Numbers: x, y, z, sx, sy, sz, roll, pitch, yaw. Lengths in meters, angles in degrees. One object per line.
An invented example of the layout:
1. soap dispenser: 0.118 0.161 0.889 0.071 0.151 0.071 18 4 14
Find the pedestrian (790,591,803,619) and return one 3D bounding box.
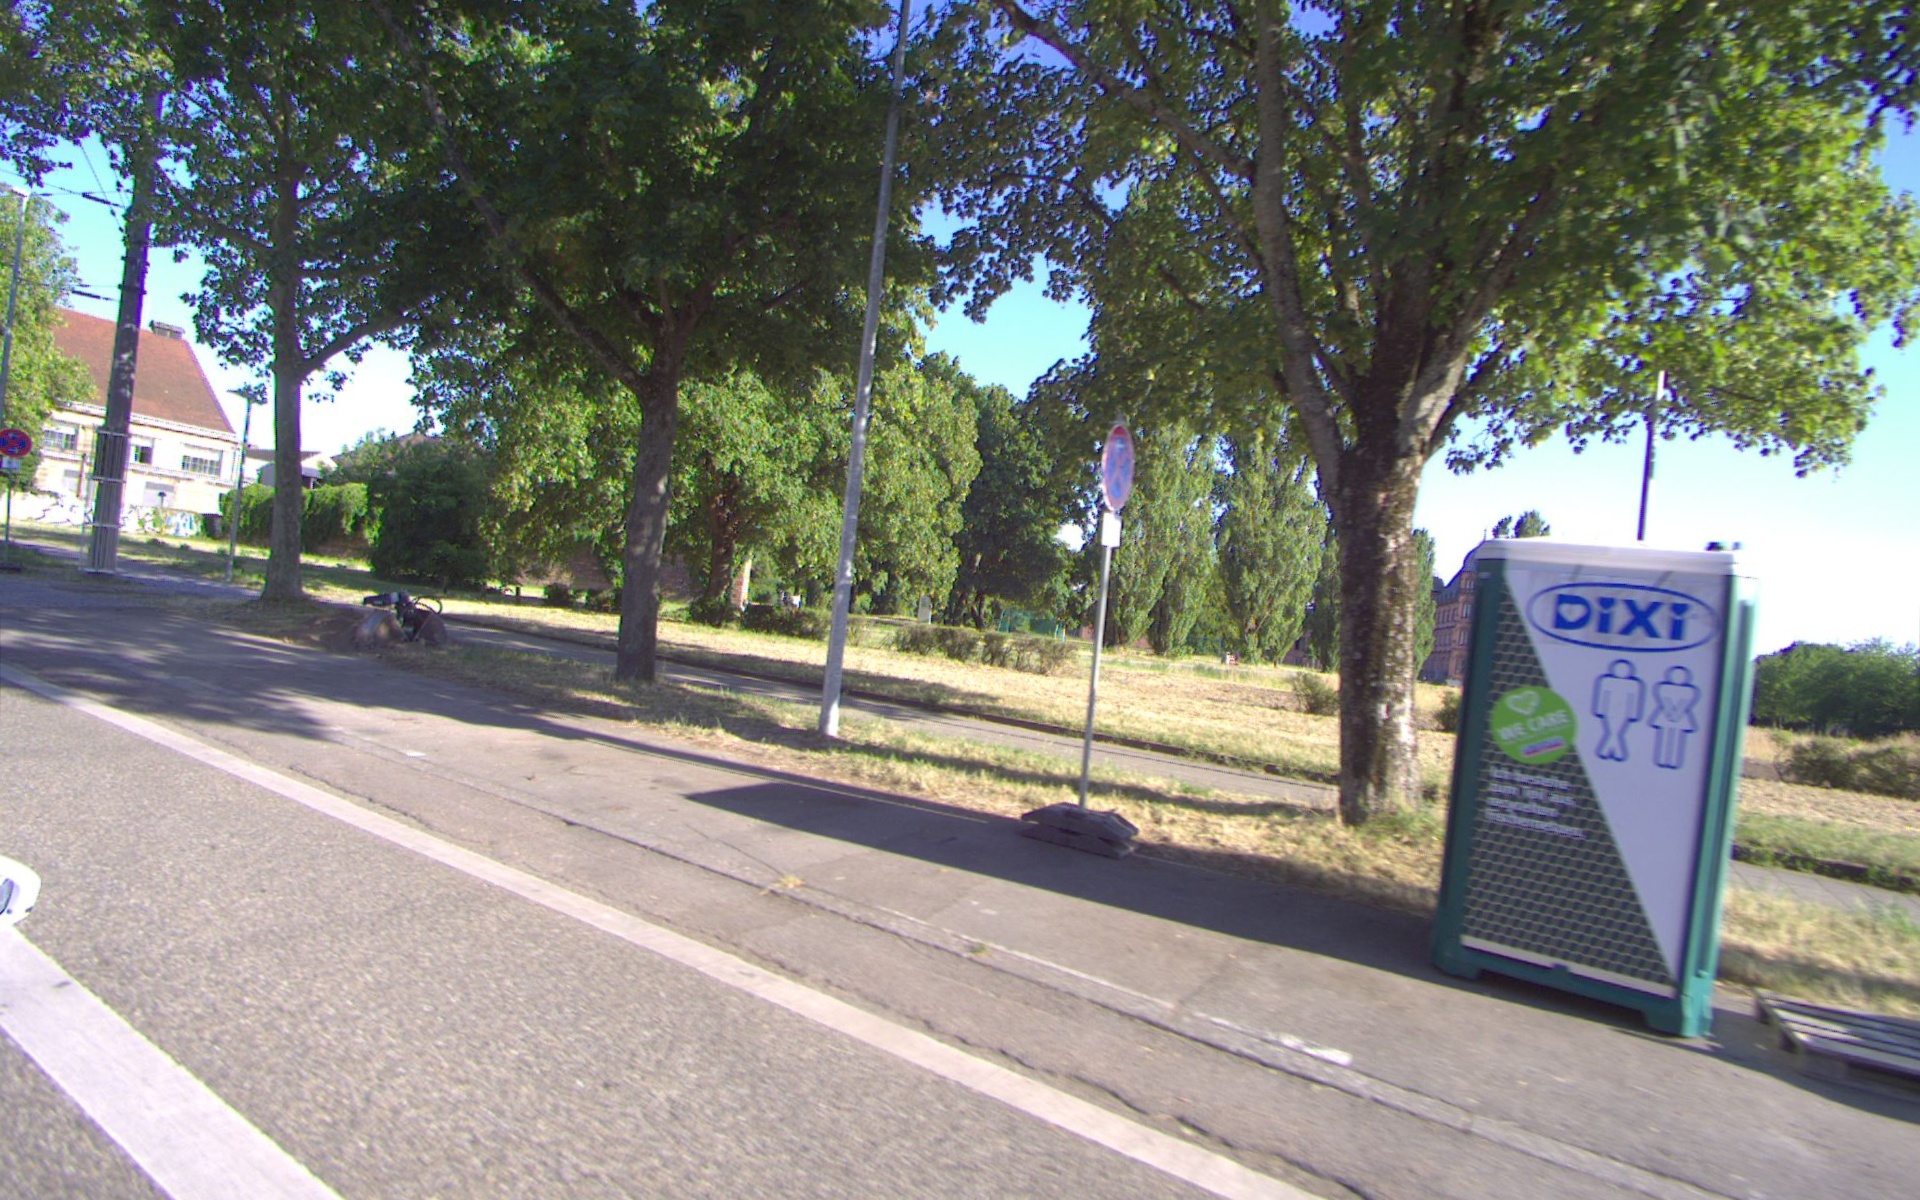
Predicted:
1. pedestrian: -8.516 0.252 52.475 0.340 1.437 0.578 6 1 10
